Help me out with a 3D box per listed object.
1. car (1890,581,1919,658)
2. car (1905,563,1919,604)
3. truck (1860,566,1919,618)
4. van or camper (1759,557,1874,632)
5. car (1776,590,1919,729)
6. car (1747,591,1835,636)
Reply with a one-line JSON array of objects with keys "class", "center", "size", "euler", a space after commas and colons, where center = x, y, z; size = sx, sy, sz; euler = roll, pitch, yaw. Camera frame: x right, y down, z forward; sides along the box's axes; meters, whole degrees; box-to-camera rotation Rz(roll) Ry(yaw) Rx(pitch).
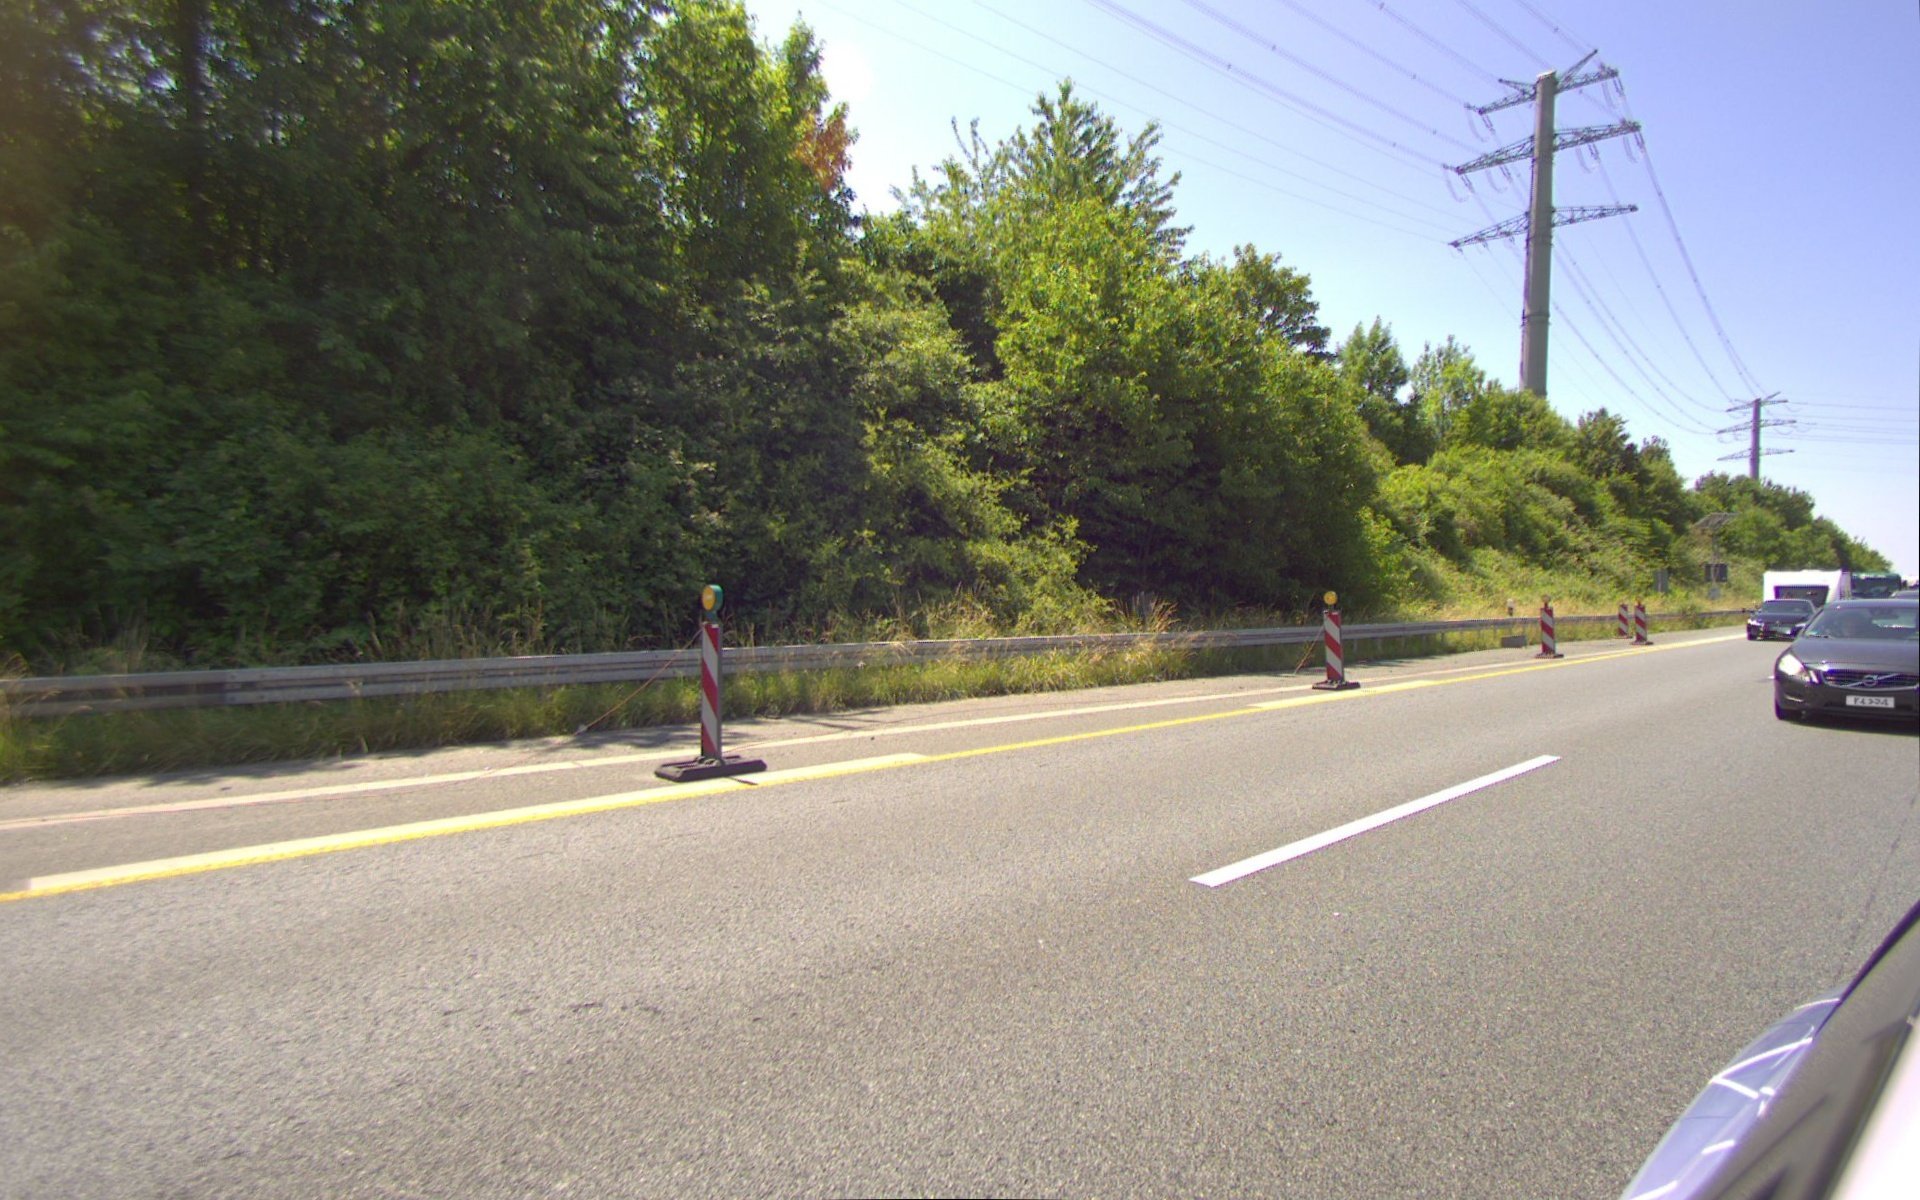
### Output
[{"class": "car", "center": [23.014, 0.431, 23.437], "size": [4.084, 1.689, 1.743], "euler": [0, 1, -41]}, {"class": "car", "center": [95.544, -1.623, 99.927], "size": [10.097, 3.849, 2.394], "euler": [-1, 0, -42]}, {"class": "truck", "center": [60.618, -0.507, 65.571], "size": [7.514, 3.181, 2.428], "euler": [0, -2, -41]}, {"class": "van or camper", "center": [33.201, -0.225, 39.099], "size": [8.275, 2.597, 2.429], "euler": [0, 1, -43]}, {"class": "car", "center": [11.378, 0.619, 12.242], "size": [3.932, 1.459, 1.796], "euler": [0, 1, -43]}, {"class": "car", "center": [28.640, 0.409, 34.825], "size": [4.138, 1.425, 1.798], "euler": [0, 1, -43]}]
